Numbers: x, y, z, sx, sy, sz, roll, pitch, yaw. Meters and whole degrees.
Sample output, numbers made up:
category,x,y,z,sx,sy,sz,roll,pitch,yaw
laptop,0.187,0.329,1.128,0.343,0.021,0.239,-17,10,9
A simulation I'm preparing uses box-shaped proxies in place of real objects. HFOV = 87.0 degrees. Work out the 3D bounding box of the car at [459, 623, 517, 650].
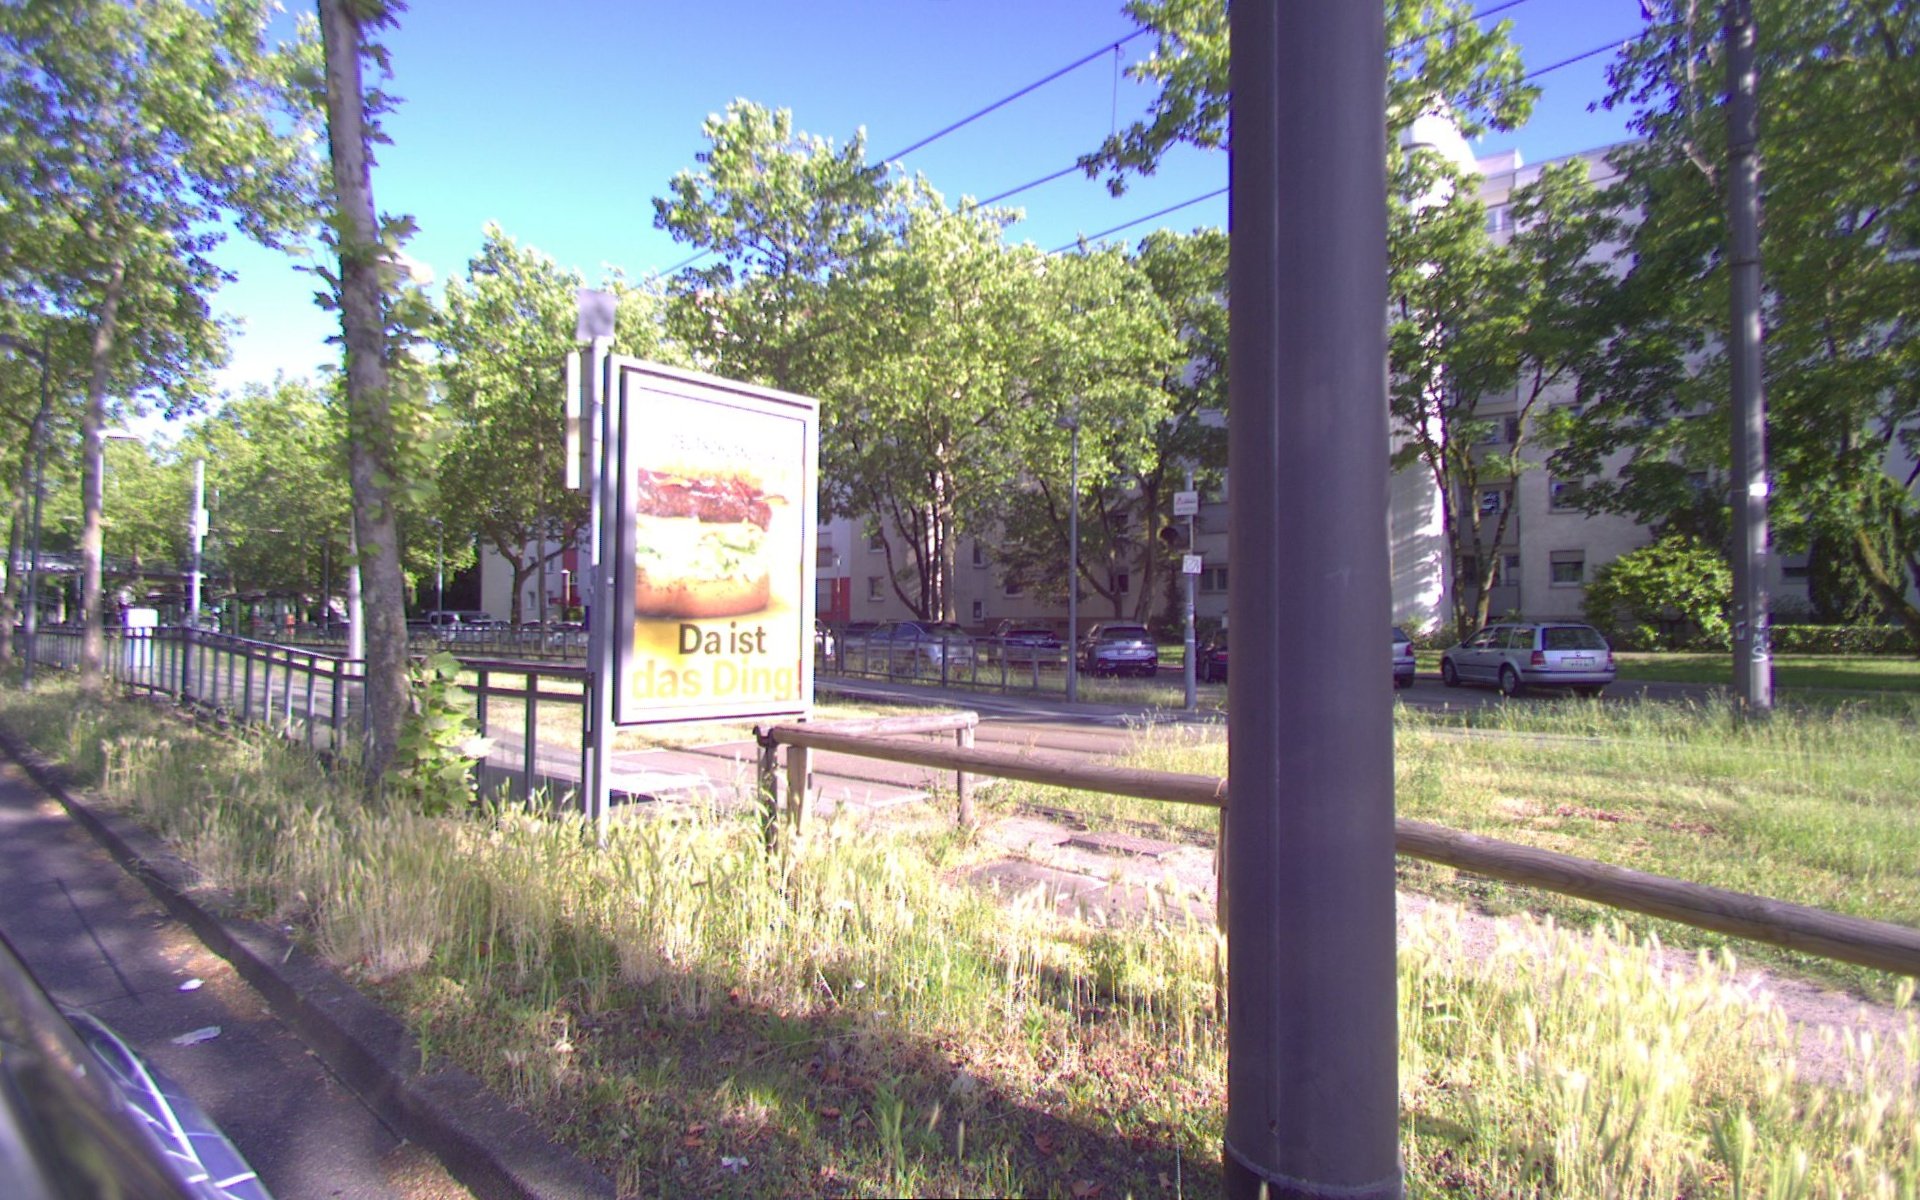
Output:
category,x,y,z,sx,sy,sz,roll,pitch,yaw
car,-25.809,1.993,55.453,1.605,1.414,3.488,0,-1,-1

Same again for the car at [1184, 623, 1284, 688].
category,x,y,z,sx,sy,sz,roll,pitch,yaw
car,6.756,1.323,25.331,1.572,1.360,3.922,-1,0,3

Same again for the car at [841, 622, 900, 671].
category,x,y,z,sx,sy,sz,roll,pitch,yaw
car,-3.010,1.551,34.664,1.538,1.439,3.761,-1,0,3

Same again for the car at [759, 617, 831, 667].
category,x,y,z,sx,sy,sz,roll,pitch,yaw
car,-6.000,1.495,37.213,1.791,1.607,3.997,-1,0,3

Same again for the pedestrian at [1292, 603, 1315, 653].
category,x,y,z,sx,sy,sz,roll,pitch,yaw
pedestrian,12.239,0.986,36.086,0.634,1.770,0.516,-1,-2,39

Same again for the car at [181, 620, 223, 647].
category,x,y,z,sx,sy,sz,roll,pitch,yaw
car,-57.414,2.513,76.627,4.652,2.007,1.772,-1,-2,43

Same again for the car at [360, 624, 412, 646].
category,x,y,z,sx,sy,sz,roll,pitch,yaw
car,-37.388,2.263,66.003,1.459,1.330,3.488,0,-1,-1

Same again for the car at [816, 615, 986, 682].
category,x,y,z,sx,sy,sz,roll,pitch,yaw
car,-1.546,1.171,25.462,4.330,1.534,1.787,-1,-2,42

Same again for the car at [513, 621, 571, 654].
category,x,y,z,sx,sy,sz,roll,pitch,yaw
car,-21.054,1.879,51.065,1.539,1.436,3.489,-3,0,-2

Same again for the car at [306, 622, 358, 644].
category,x,y,z,sx,sy,sz,roll,pitch,yaw
car,-45.026,2.348,72.608,1.578,1.538,3.737,0,-1,-3

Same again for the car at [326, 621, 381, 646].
category,x,y,z,sx,sy,sz,roll,pitch,yaw
car,-40.790,2.221,68.146,1.578,1.582,3.830,0,-1,-3

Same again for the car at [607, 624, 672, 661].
category,x,y,z,sx,sy,sz,roll,pitch,yaw
car,-14.034,1.850,44.480,1.470,1.425,3.880,-1,0,3

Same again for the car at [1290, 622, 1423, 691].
category,x,y,z,sx,sy,sz,roll,pitch,yaw
car,9.111,1.262,23.552,1.553,1.431,3.620,-1,-1,-1

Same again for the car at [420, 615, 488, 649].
category,x,y,z,sx,sy,sz,roll,pitch,yaw
car,-28.491,1.782,57.124,1.843,1.826,4.047,0,-1,0

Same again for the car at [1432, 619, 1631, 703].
category,x,y,z,sx,sy,sz,roll,pitch,yaw
car,11.508,1.167,20.726,1.685,1.454,3.978,-1,0,-2

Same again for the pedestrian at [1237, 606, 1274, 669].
category,x,y,z,sx,sy,sz,roll,pitch,yaw
pedestrian,8.441,1.053,28.911,0.755,1.770,0.752,-1,-2,41

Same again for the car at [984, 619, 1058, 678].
category,x,y,z,sx,sy,sz,roll,pitch,yaw
car,1.724,1.373,29.748,1.669,1.499,4.003,-1,0,-4

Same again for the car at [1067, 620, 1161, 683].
category,x,y,z,sx,sy,sz,roll,pitch,yaw
car,4.128,1.342,27.678,1.650,1.469,4.004,-1,0,-4

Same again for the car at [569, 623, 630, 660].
category,x,y,z,sx,sy,sz,roll,pitch,yaw
car,-16.691,1.898,46.986,1.445,1.519,3.393,-1,0,3

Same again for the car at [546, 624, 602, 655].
category,x,y,z,sx,sy,sz,roll,pitch,yaw
car,-18.819,1.904,49.493,1.459,1.339,3.488,-2,0,-1

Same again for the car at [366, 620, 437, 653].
category,x,y,z,sx,sy,sz,roll,pitch,yaw
car,-27.168,1.739,49.150,4.100,1.523,1.746,-1,-2,41
